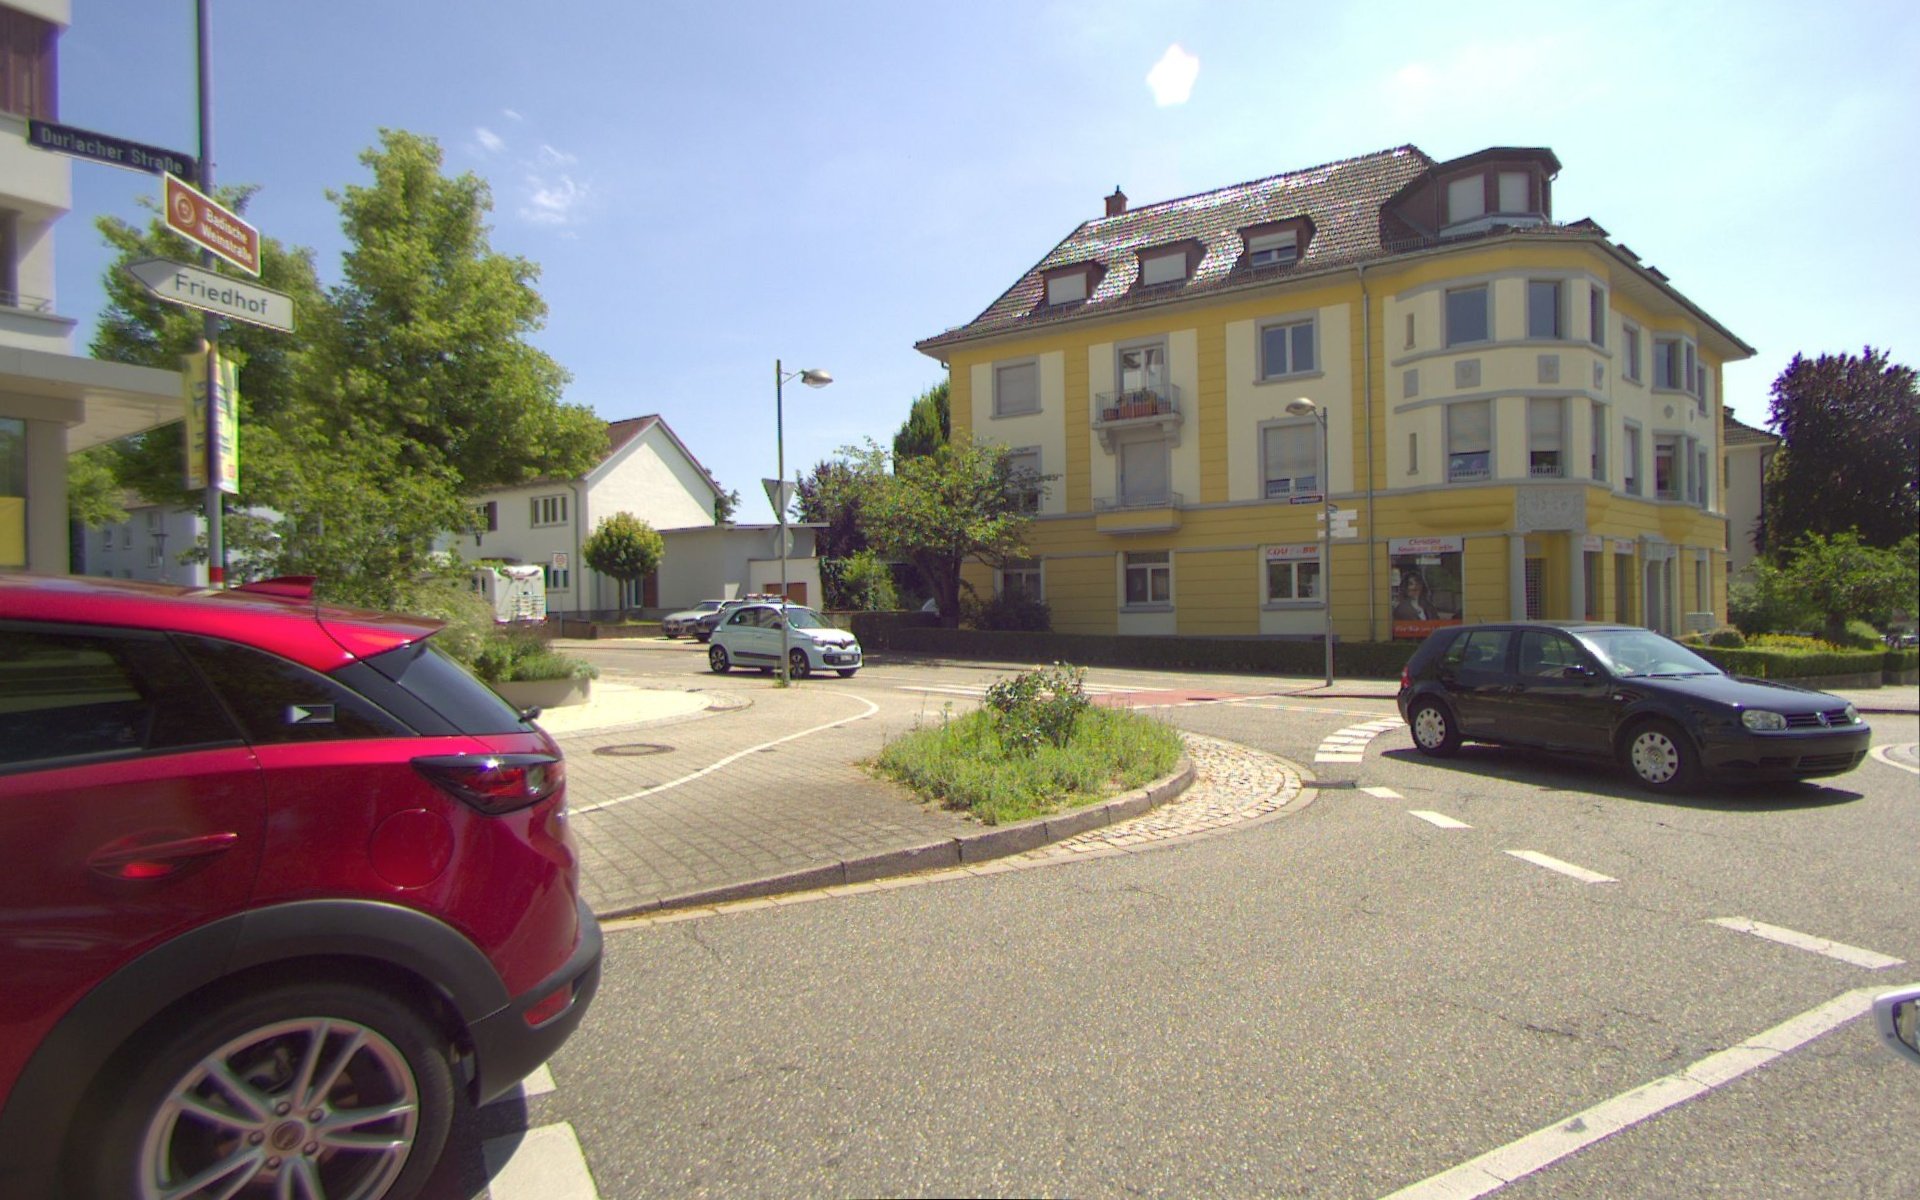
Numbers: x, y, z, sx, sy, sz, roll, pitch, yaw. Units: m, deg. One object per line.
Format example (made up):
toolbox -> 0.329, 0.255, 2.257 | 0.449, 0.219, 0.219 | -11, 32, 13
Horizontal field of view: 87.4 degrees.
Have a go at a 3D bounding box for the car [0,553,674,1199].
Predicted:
car -> -2.844, 0.670, 2.191 | 3.950, 1.525, 1.740 | 1, -1, -34

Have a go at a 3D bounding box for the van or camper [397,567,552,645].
van or camper -> -17.844, 0.164, 36.859 | 5.782, 2.674, 2.269 | 0, 2, 31

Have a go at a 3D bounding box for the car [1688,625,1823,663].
car -> 34.692, 1.907, 43.985 | 4.339, 1.529, 1.997 | 0, -1, 29

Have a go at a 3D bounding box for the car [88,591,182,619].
car -> -50.727, 0.317, 61.831 | 1.782, 1.630, 4.117 | 1, -1, 24

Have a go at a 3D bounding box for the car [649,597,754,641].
car -> -9.902, 0.707, 38.821 | 1.724, 1.607, 3.987 | 0, -1, 27

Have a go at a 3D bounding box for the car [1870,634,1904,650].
car -> 95.137, 4.280, 103.085 | 1.967, 1.508, 3.987 | 2, 0, 35

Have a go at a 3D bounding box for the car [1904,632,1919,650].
car -> 85.471, 3.657, 89.040 | 1.966, 1.529, 4.406 | 0, -1, 34

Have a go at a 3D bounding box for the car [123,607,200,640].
car -> -39.074, 1.140, 49.114 | 3.923, 1.525, 1.752 | 0, -1, 32

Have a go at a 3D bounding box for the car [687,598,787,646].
car -> -7.924, 0.754, 36.009 | 1.721, 1.607, 3.993 | 0, -1, 17

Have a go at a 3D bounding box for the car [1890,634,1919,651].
car -> 88.749, 3.943, 93.867 | 1.966, 1.529, 4.406 | 0, -1, 34

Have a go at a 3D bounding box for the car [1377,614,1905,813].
car -> 6.205, 0.913, 9.781 | 1.690, 1.466, 4.041 | -1, -1, -19

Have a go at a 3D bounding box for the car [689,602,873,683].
car -> -4.010, 0.861, 22.181 | 4.095, 1.545, 1.654 | 1, 1, 37
